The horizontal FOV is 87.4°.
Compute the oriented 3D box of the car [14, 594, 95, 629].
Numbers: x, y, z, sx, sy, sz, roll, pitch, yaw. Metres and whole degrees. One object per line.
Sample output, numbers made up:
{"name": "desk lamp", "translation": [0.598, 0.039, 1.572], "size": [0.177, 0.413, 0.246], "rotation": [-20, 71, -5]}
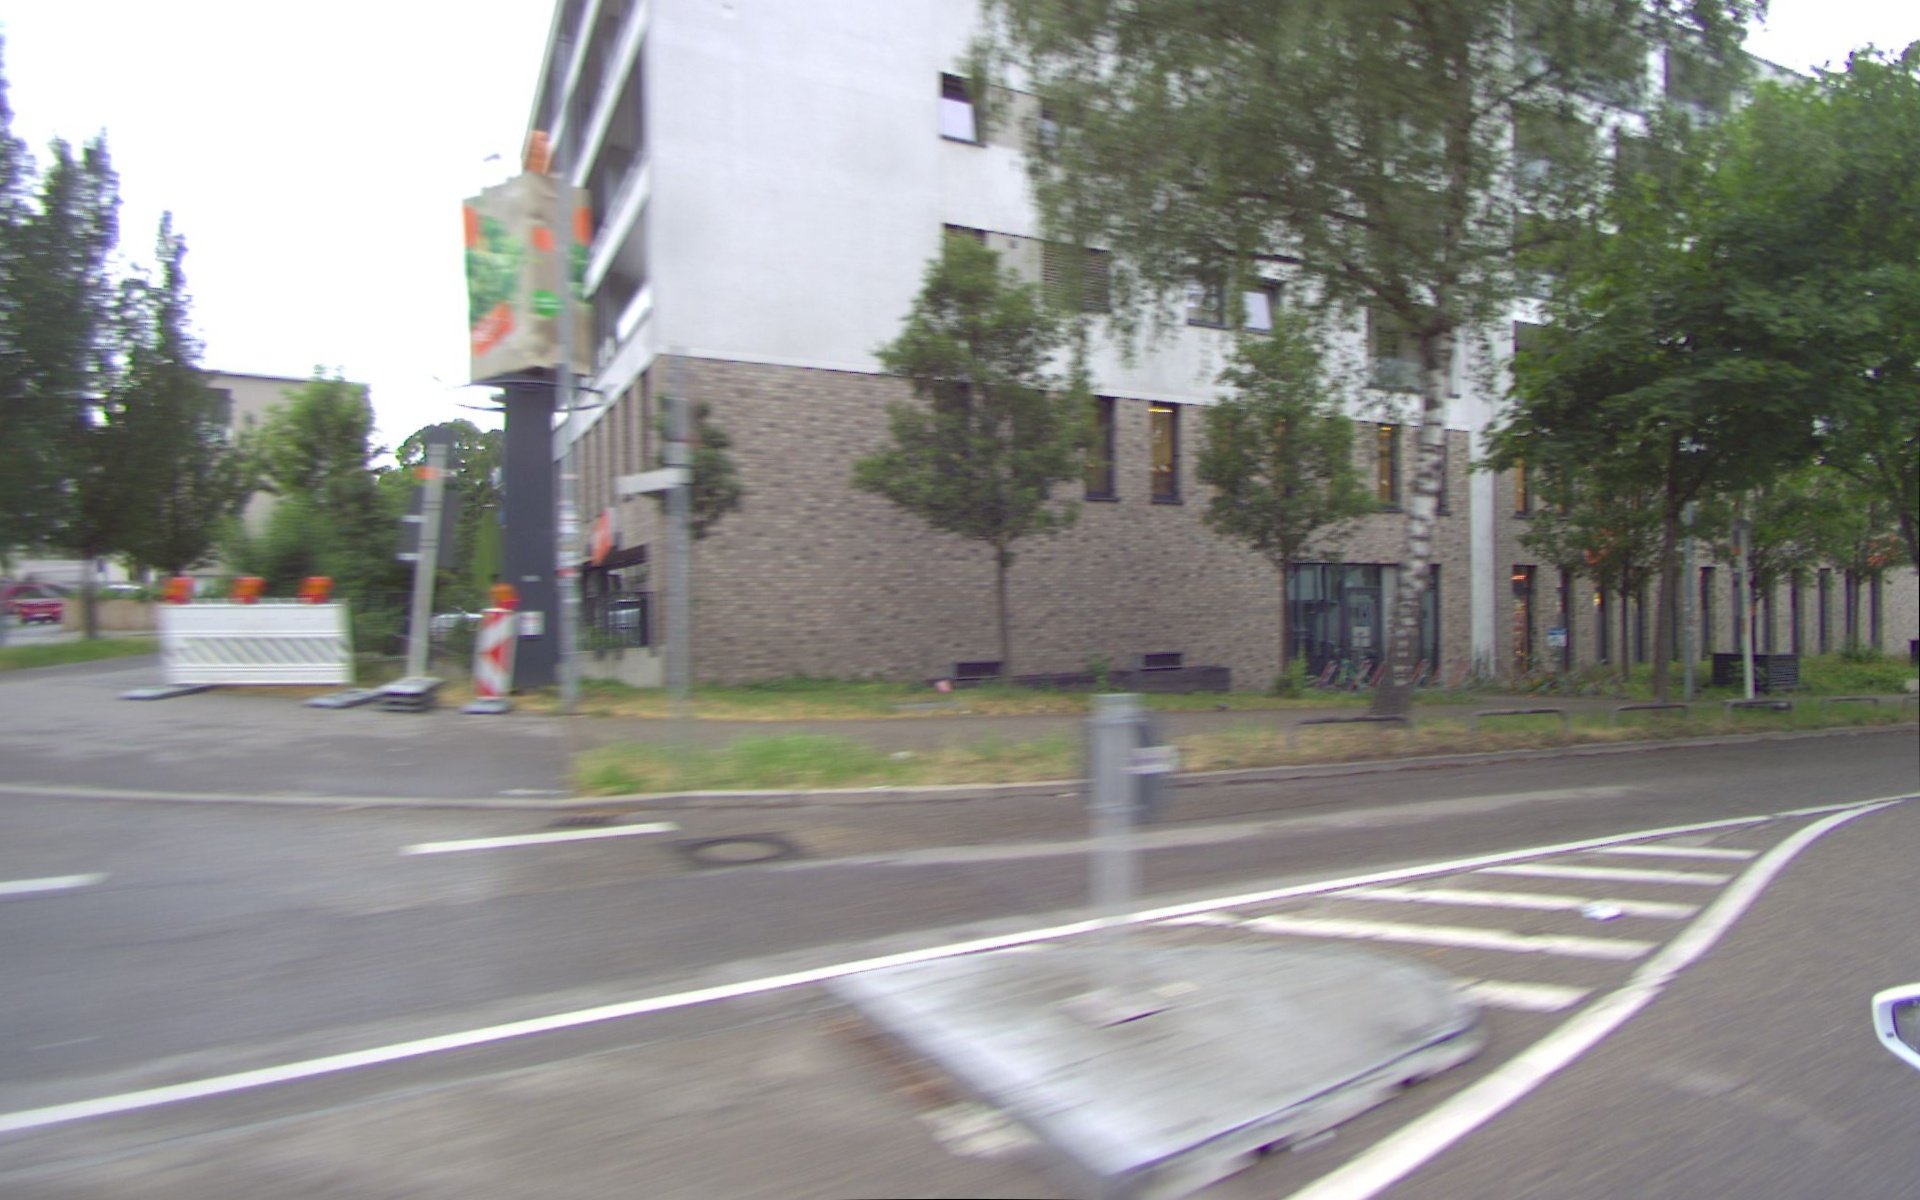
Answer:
{"name": "car", "translation": [-42.853, 0.521, 47.623], "size": [1.976, 1.503, 3.969], "rotation": [1, 1, -29]}

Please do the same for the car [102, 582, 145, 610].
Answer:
{"name": "car", "translation": [-56.193, -0.246, 67.517], "size": [1.982, 1.773, 3.957], "rotation": [1, 0, -37]}

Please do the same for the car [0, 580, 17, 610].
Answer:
{"name": "car", "translation": [-57.910, -0.292, 59.555], "size": [1.976, 1.773, 3.969], "rotation": [1, 0, -29]}

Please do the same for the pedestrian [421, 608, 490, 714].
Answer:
{"name": "pedestrian", "translation": [-10.078, 1.186, 20.061], "size": [1.106, 2.041, 0.877], "rotation": [1, 1, -35]}

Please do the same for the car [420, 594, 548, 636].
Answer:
{"name": "car", "translation": [-20.710, 0.662, 43.937], "size": [2.026, 1.683, 4.815], "rotation": [1, -1, 27]}
